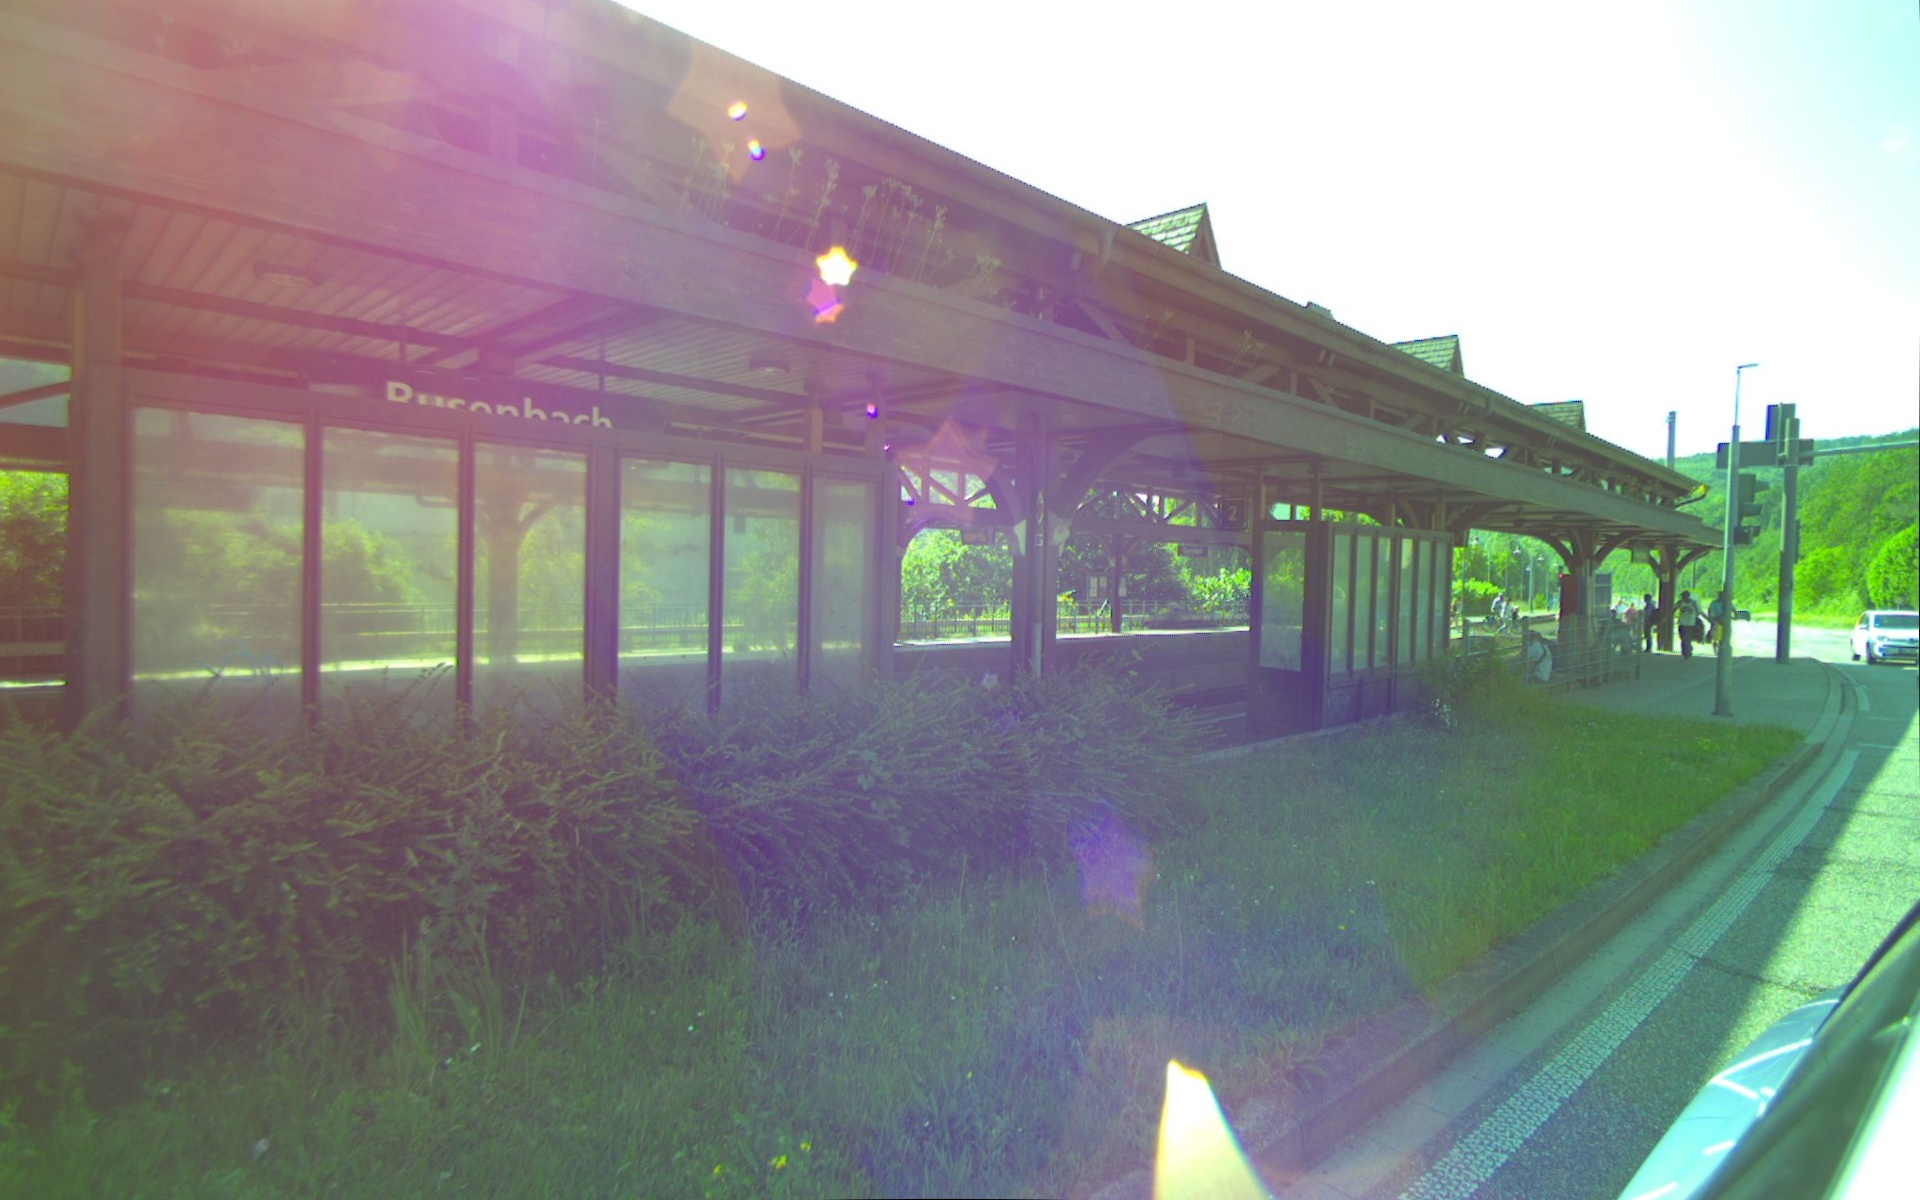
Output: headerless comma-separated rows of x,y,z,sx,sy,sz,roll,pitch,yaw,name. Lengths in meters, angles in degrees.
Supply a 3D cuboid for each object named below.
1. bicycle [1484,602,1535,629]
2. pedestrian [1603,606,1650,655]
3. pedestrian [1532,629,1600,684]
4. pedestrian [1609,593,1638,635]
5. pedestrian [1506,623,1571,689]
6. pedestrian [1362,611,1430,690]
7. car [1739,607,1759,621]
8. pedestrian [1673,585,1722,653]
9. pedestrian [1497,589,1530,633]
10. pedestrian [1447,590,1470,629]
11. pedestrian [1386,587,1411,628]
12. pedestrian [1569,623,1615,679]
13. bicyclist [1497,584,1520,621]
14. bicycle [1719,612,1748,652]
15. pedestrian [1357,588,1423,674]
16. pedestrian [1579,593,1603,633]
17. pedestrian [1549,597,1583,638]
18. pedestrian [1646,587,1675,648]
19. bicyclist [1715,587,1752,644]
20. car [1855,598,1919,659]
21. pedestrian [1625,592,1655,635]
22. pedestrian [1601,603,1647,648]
25.369,0.715,46.733,2.004,1.224,0.702,0,-2,32,bicycle
17.413,0.782,26.447,0.988,1.251,0.589,-1,-2,36,pedestrian
10.157,0.925,16.957,0.844,0.885,0.795,-1,-2,42,pedestrian
27.262,0.568,41.579,0.864,1.706,0.810,-1,-2,42,pedestrian
9.115,0.866,15.945,0.741,0.995,0.757,-1,-2,42,pedestrian
6.435,0.730,14.942,0.741,1.131,0.657,-1,-2,42,pedestrian
104.070,1.848,133.473,1.990,1.772,3.942,-1,-2,40,car
19.543,0.509,26.818,0.913,1.759,1.232,-1,-2,42,pedestrian
24.429,0.482,44.666,1.054,1.867,0.989,3,-2,-42,pedestrian
22.397,0.428,45.527,0.894,1.706,1.114,0,-2,26,pedestrian
20.159,0.356,46.501,0.899,1.873,0.811,-1,-2,38,pedestrian
11.239,0.899,17.999,0.616,0.978,0.400,-1,-2,42,pedestrian
25.366,0.110,46.812,0.896,1.706,0.813,-1,-2,30,bicyclist
21.924,0.891,28.683,0.601,1.069,1.788,-1,-1,38,bicycle
8.152,0.567,19.173,0.860,1.567,0.908,1,-1,43,pedestrian
27.183,0.562,43.619,0.669,1.706,0.560,1,-2,-20,pedestrian
25.665,0.732,42.879,0.805,1.706,0.905,1,-2,-14,pedestrian
20.153,0.488,29.110,0.655,1.713,0.730,1,1,35,pedestrian
21.931,0.439,28.682,0.783,1.589,0.933,-1,-1,39,bicyclist
26.601,0.760,28.166,1.986,1.605,3.951,-1,-1,34,car
26.947,0.534,40.109,0.813,1.706,0.896,0,-2,24,pedestrian
18.048,0.676,27.497,1.003,1.174,0.937,1,0,35,pedestrian
